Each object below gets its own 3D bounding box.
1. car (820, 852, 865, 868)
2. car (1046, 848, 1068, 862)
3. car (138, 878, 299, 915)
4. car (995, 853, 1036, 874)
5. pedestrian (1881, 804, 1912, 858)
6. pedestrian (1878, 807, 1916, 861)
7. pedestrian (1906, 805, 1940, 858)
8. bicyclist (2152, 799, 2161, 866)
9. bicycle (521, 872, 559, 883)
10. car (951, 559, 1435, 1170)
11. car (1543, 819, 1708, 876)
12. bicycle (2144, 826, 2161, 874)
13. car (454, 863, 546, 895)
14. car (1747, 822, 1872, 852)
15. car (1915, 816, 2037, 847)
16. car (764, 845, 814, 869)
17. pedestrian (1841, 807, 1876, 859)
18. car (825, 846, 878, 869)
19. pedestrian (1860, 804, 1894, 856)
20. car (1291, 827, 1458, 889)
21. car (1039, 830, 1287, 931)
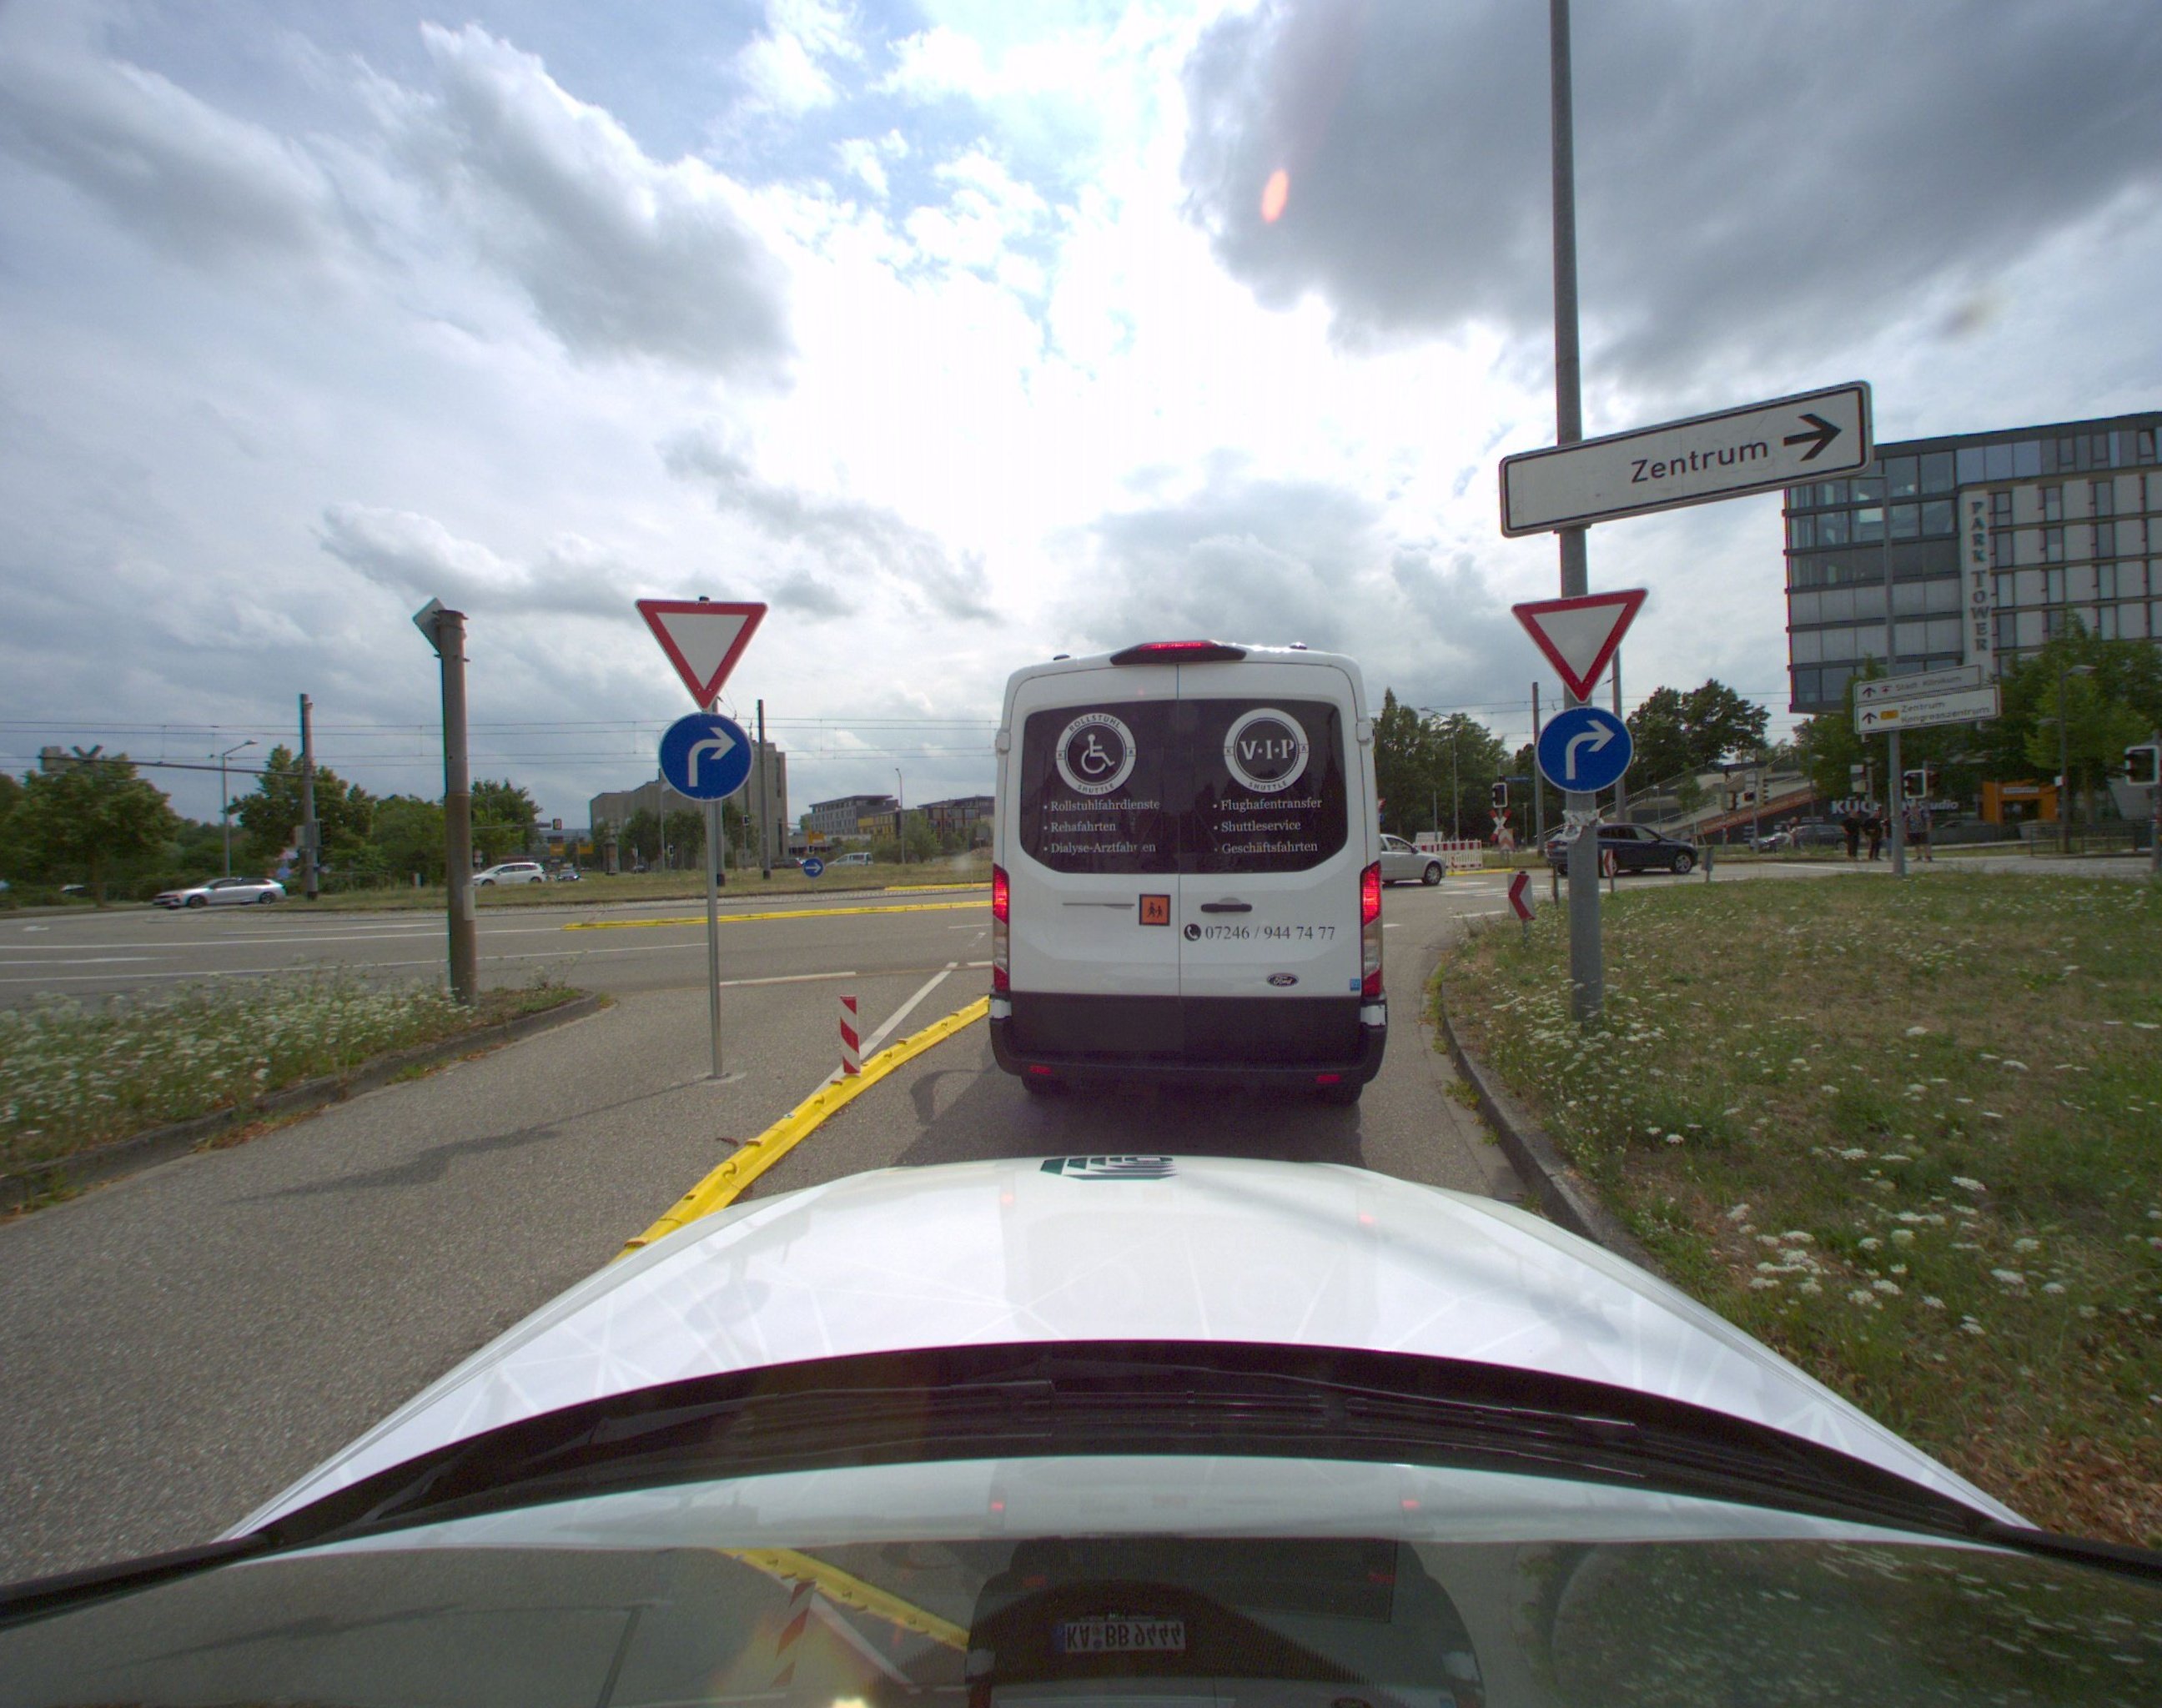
[{"bbox_3d":[-23.652,0.573,80.763,3.952,1.463,1.843,-1,-1,23],"label":"car"},{"bbox_3d":[-2.830,0.118,96.480,1.817,1.463,4.009,-2,0,8],"label":"car"},{"bbox_3d":[-43.294,2.102,41.093,1.978,1.482,5.206,-2,0,16],"label":"car"},{"bbox_3d":[-6.456,0.953,80.534,1.974,2.014,4.025,-2,-1,32],"label":"car"},{"bbox_3d":[28.538,-0.811,28.502,0.527,1.862,0.554,-2,1,6],"label":"pedestrian"},{"bbox_3d":[27.927,-0.681,27.879,0.684,1.781,0.554,-2,1,6],"label":"pedestrian"},{"bbox_3d":[28.738,-0.771,27.795,0.575,1.781,0.554,-2,1,6],"label":"pedestrian"},{"bbox_3d":[26.764,-0.535,19.716,0.781,1.627,1.055,-2,0,41],"label":"bicyclist"},{"bbox_3d":[-48.473,2.098,72.934,0.853,0.855,2.676,-2,1,36],"label":"bicycle"},{"bbox_3d":[0.877,0.052,6.523,2.114,2.697,5.645,-2,0,8],"label":"car"},{"bbox_3d":[16.480,-0.221,24.688,4.365,1.534,1.724,-2,1,-15],"label":"car"},{"bbox_3d":[26.846,-0.103,19.804,0.781,1.168,2.054,-2,0,40],"label":"bicycle"},{"bbox_3d":[-37.723,1.598,52.964,1.913,1.665,4.384,-2,2,32],"label":"car"},{"bbox_3d":[39.016,-0.918,43.719,4.689,1.458,1.855,-2,1,13],"label":"car"},{"bbox_3d":[46.908,-1.164,42.792,3.958,1.458,1.856,-2,1,14],"label":"car"},{"bbox_3d":[-25.789,0.285,71.865,3.949,2.014,2.012,-1,-1,29],"label":"car"},{"bbox_3d":[27.296,-0.743,28.604,0.684,1.781,0.554,-2,1,6],"label":"pedestrian"},{"bbox_3d":[-21.595,0.365,76.584,4.319,2.014,2.006,-1,-1,11],"label":"car"},{"bbox_3d":[27.908,-0.828,28.572,0.628,1.781,0.554,-2,1,6],"label":"pedestrian"},{"bbox_3d":[8.013,0.080,22.195,4.268,1.462,1.815,-2,1,-26],"label":"car"},{"bbox_3d":[1.510,0.403,14.688,4.155,1.519,1.726,-2,1,-27],"label":"car"}]
